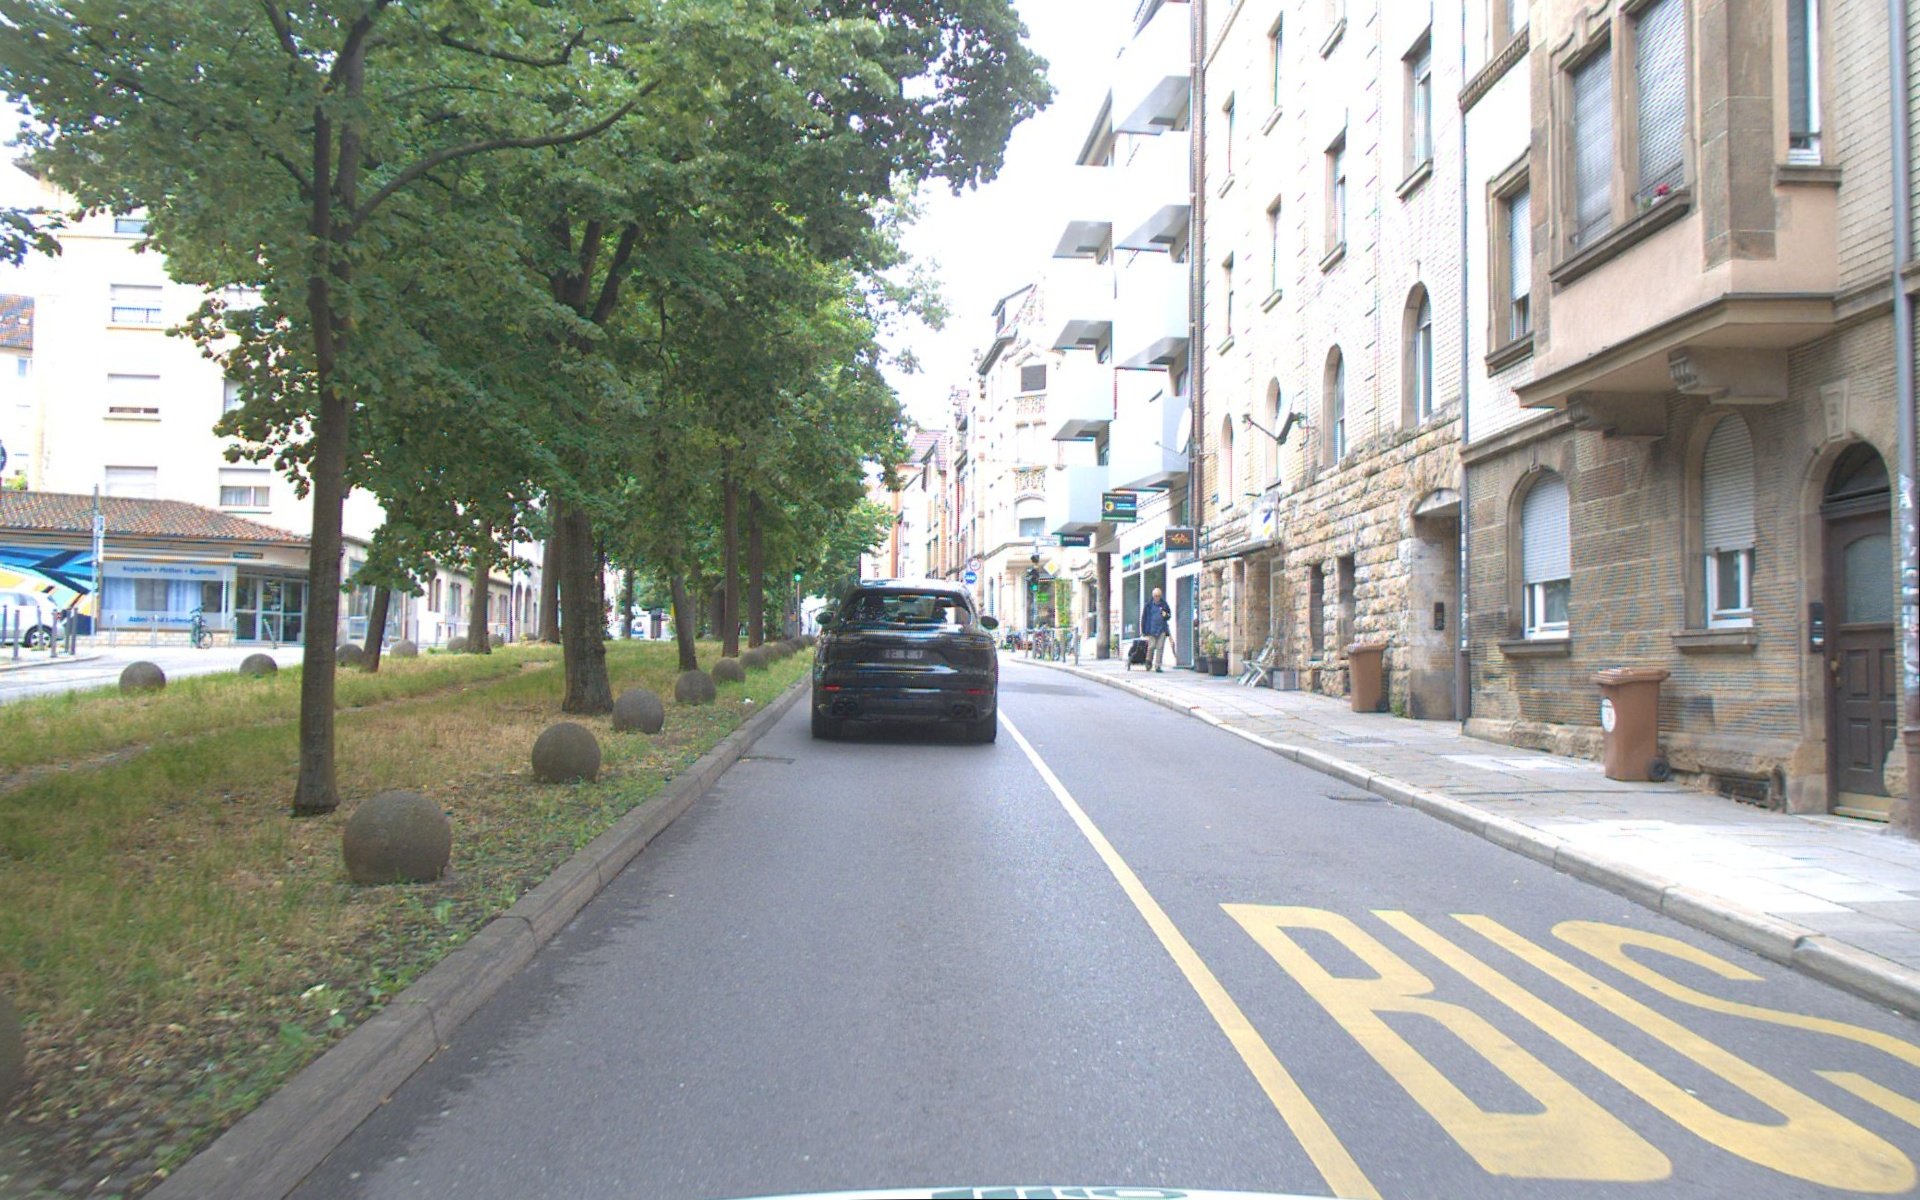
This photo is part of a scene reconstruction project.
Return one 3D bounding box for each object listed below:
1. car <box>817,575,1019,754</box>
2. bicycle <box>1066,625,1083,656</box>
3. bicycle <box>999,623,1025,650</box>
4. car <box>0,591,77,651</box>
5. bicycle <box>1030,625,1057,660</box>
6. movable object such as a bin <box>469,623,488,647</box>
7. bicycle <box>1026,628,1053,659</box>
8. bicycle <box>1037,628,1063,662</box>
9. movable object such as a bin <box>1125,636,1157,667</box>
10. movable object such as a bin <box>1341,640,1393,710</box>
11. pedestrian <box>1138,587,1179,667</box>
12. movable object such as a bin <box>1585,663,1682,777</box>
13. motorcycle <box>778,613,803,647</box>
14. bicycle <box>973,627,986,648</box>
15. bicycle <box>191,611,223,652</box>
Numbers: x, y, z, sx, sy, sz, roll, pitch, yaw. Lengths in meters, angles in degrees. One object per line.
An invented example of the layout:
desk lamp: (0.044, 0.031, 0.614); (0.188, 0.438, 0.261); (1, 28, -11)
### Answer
car: (-0.492, 0.610, 18.320); (1.953, 1.694, 3.999); (1, 1, -2)
bicycle: (4.978, 1.743, 71.908); (0.438, 1.182, 1.833); (0, 4, -5)
bicycle: (2.320, 1.632, 73.910); (0.861, 1.149, 2.976); (1, -2, -4)
car: (-25.432, 0.591, 43.175); (3.997, 1.505, 1.798); (-2, 0, -36)
bicycle: (2.624, 1.318, 51.834); (0.281, 1.073, 1.753); (2, -2, -16)
movable object such as a bin: (-21.759, 1.587, 74.730); (0.679, 1.078, 0.688); (2, -3, -8)
bicycle: (2.463, 1.366, 51.505); (0.281, 0.948, 1.753); (2, -2, -16)
bicycle: (2.642, 1.319, 48.519); (0.557, 0.948, 1.773); (1, -2, -3)
movable object such as a bin: (4.004, 1.142, 36.576); (0.595, 0.680, 0.858); (0, -2, -2)
movable object such as a bin: (5.550, 1.027, 22.587); (0.582, 0.920, 0.502); (1, -4, -2)
pedestrian: (4.284, 0.590, 35.742); (0.736, 1.723, 0.858); (0, -2, -2)
movable object such as a bin: (5.737, 1.013, 14.114); (0.582, 0.920, 0.562); (1, -1, -1)
motorcycle: (-7.592, 1.373, 74.171); (0.999, 1.472, 2.245); (-1, -2, -4)
bicycle: (0.992, 1.920, 84.979); (0.438, 1.055, 2.245); (0, -2, -5)
bicycle: (-21.043, 0.887, 46.215); (0.752, 1.104, 2.021); (3, -2, -25)
